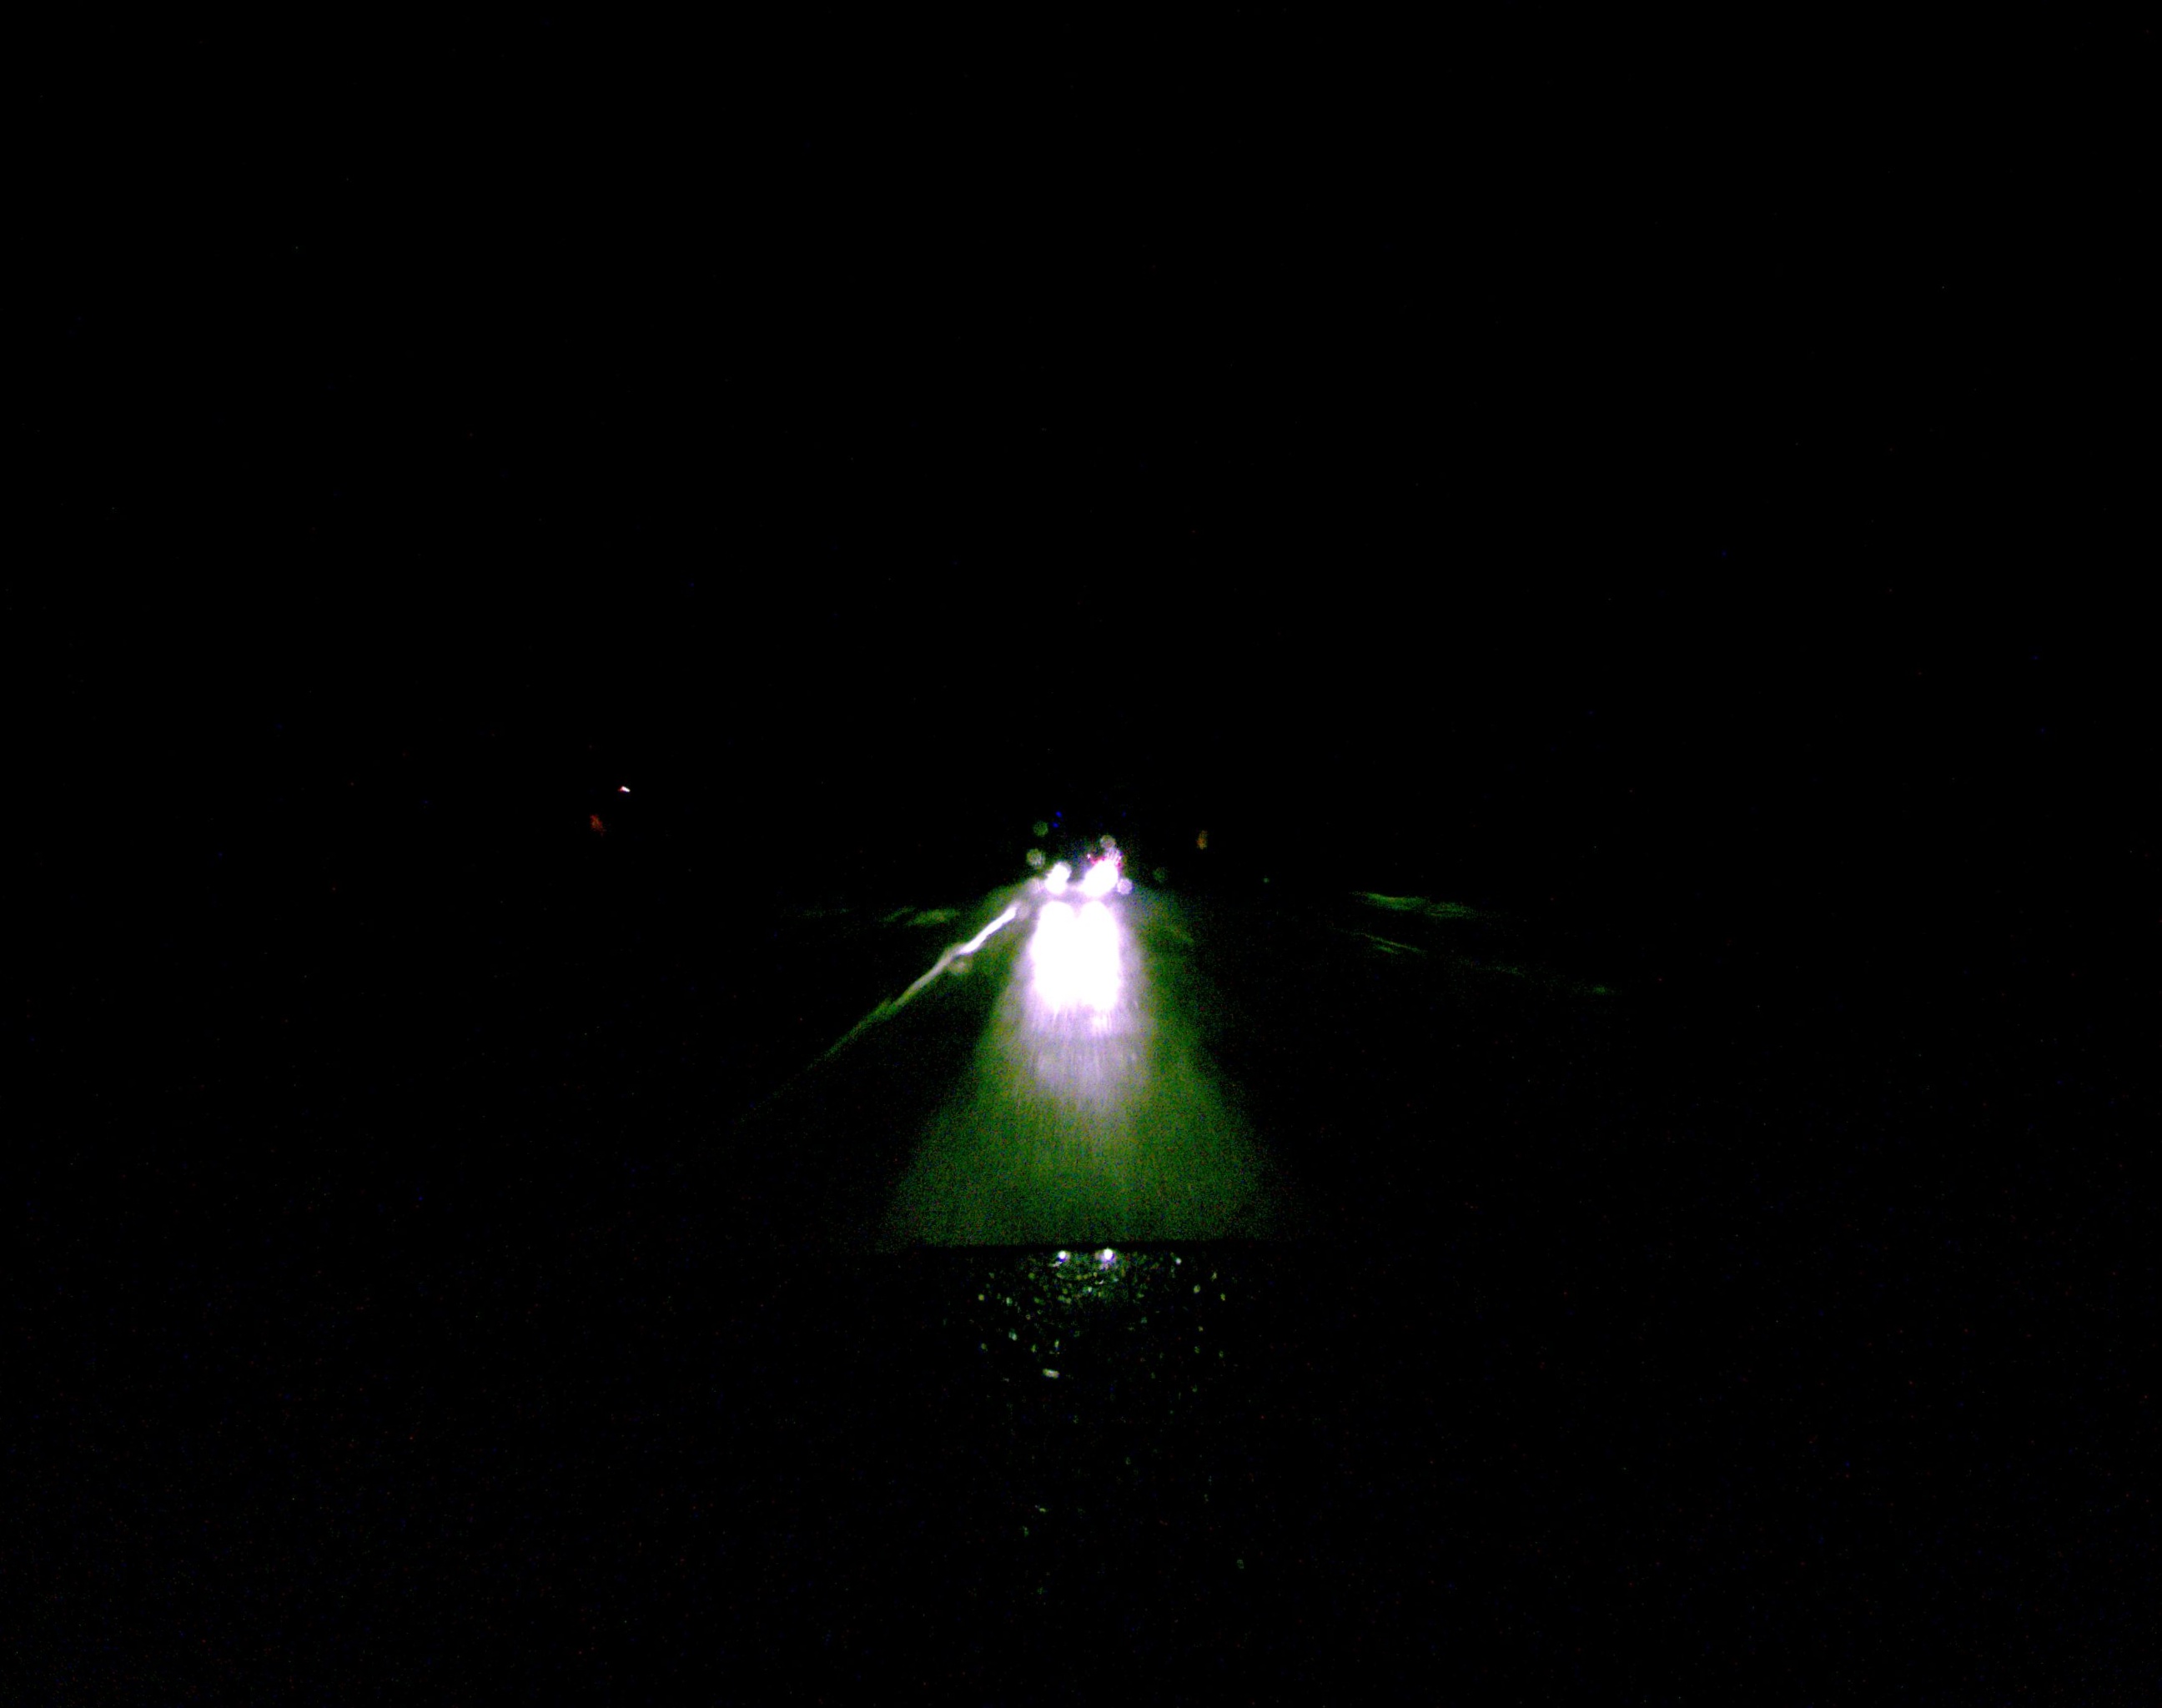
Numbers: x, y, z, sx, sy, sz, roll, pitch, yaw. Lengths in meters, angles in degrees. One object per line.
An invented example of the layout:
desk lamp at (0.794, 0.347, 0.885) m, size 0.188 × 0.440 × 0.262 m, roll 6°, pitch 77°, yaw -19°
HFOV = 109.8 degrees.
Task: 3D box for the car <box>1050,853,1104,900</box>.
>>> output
car at (-0.183, 0.825, 30.128) m, size 1.863 × 1.601 × 4.419 m, roll -4°, pitch 0°, yaw -1°

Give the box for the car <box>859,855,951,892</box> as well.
car at (-8.150, 0.872, 35.239) m, size 3.731 × 1.512 × 1.751 m, roll 1°, pitch 2°, yaw 14°

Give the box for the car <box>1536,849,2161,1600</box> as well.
car at (3.374, 0.844, 2.013) m, size 1.894 × 1.628 × 4.155 m, roll -1°, pitch 1°, yaw 1°

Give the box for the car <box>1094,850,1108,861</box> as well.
car at (3.066, 0.252, 117.591) m, size 1.951 × 1.464 × 4.094 m, roll -2°, pitch 1°, yaw -1°

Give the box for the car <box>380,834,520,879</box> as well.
car at (-29.009, 0.079, 35.058) m, size 4.754 × 2.002 × 2.000 m, roll 0°, pitch 1°, yaw 0°

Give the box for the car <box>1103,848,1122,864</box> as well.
car at (3.337, 0.184, 81.679) m, size 1.835 × 1.637 × 3.999 m, roll 0°, pitch 1°, yaw -1°

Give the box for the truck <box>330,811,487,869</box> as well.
truck at (-33.613, -0.717, 38.222) m, size 5.361 × 2.737 × 2.222 m, roll -2°, pitch 1°, yaw -23°
